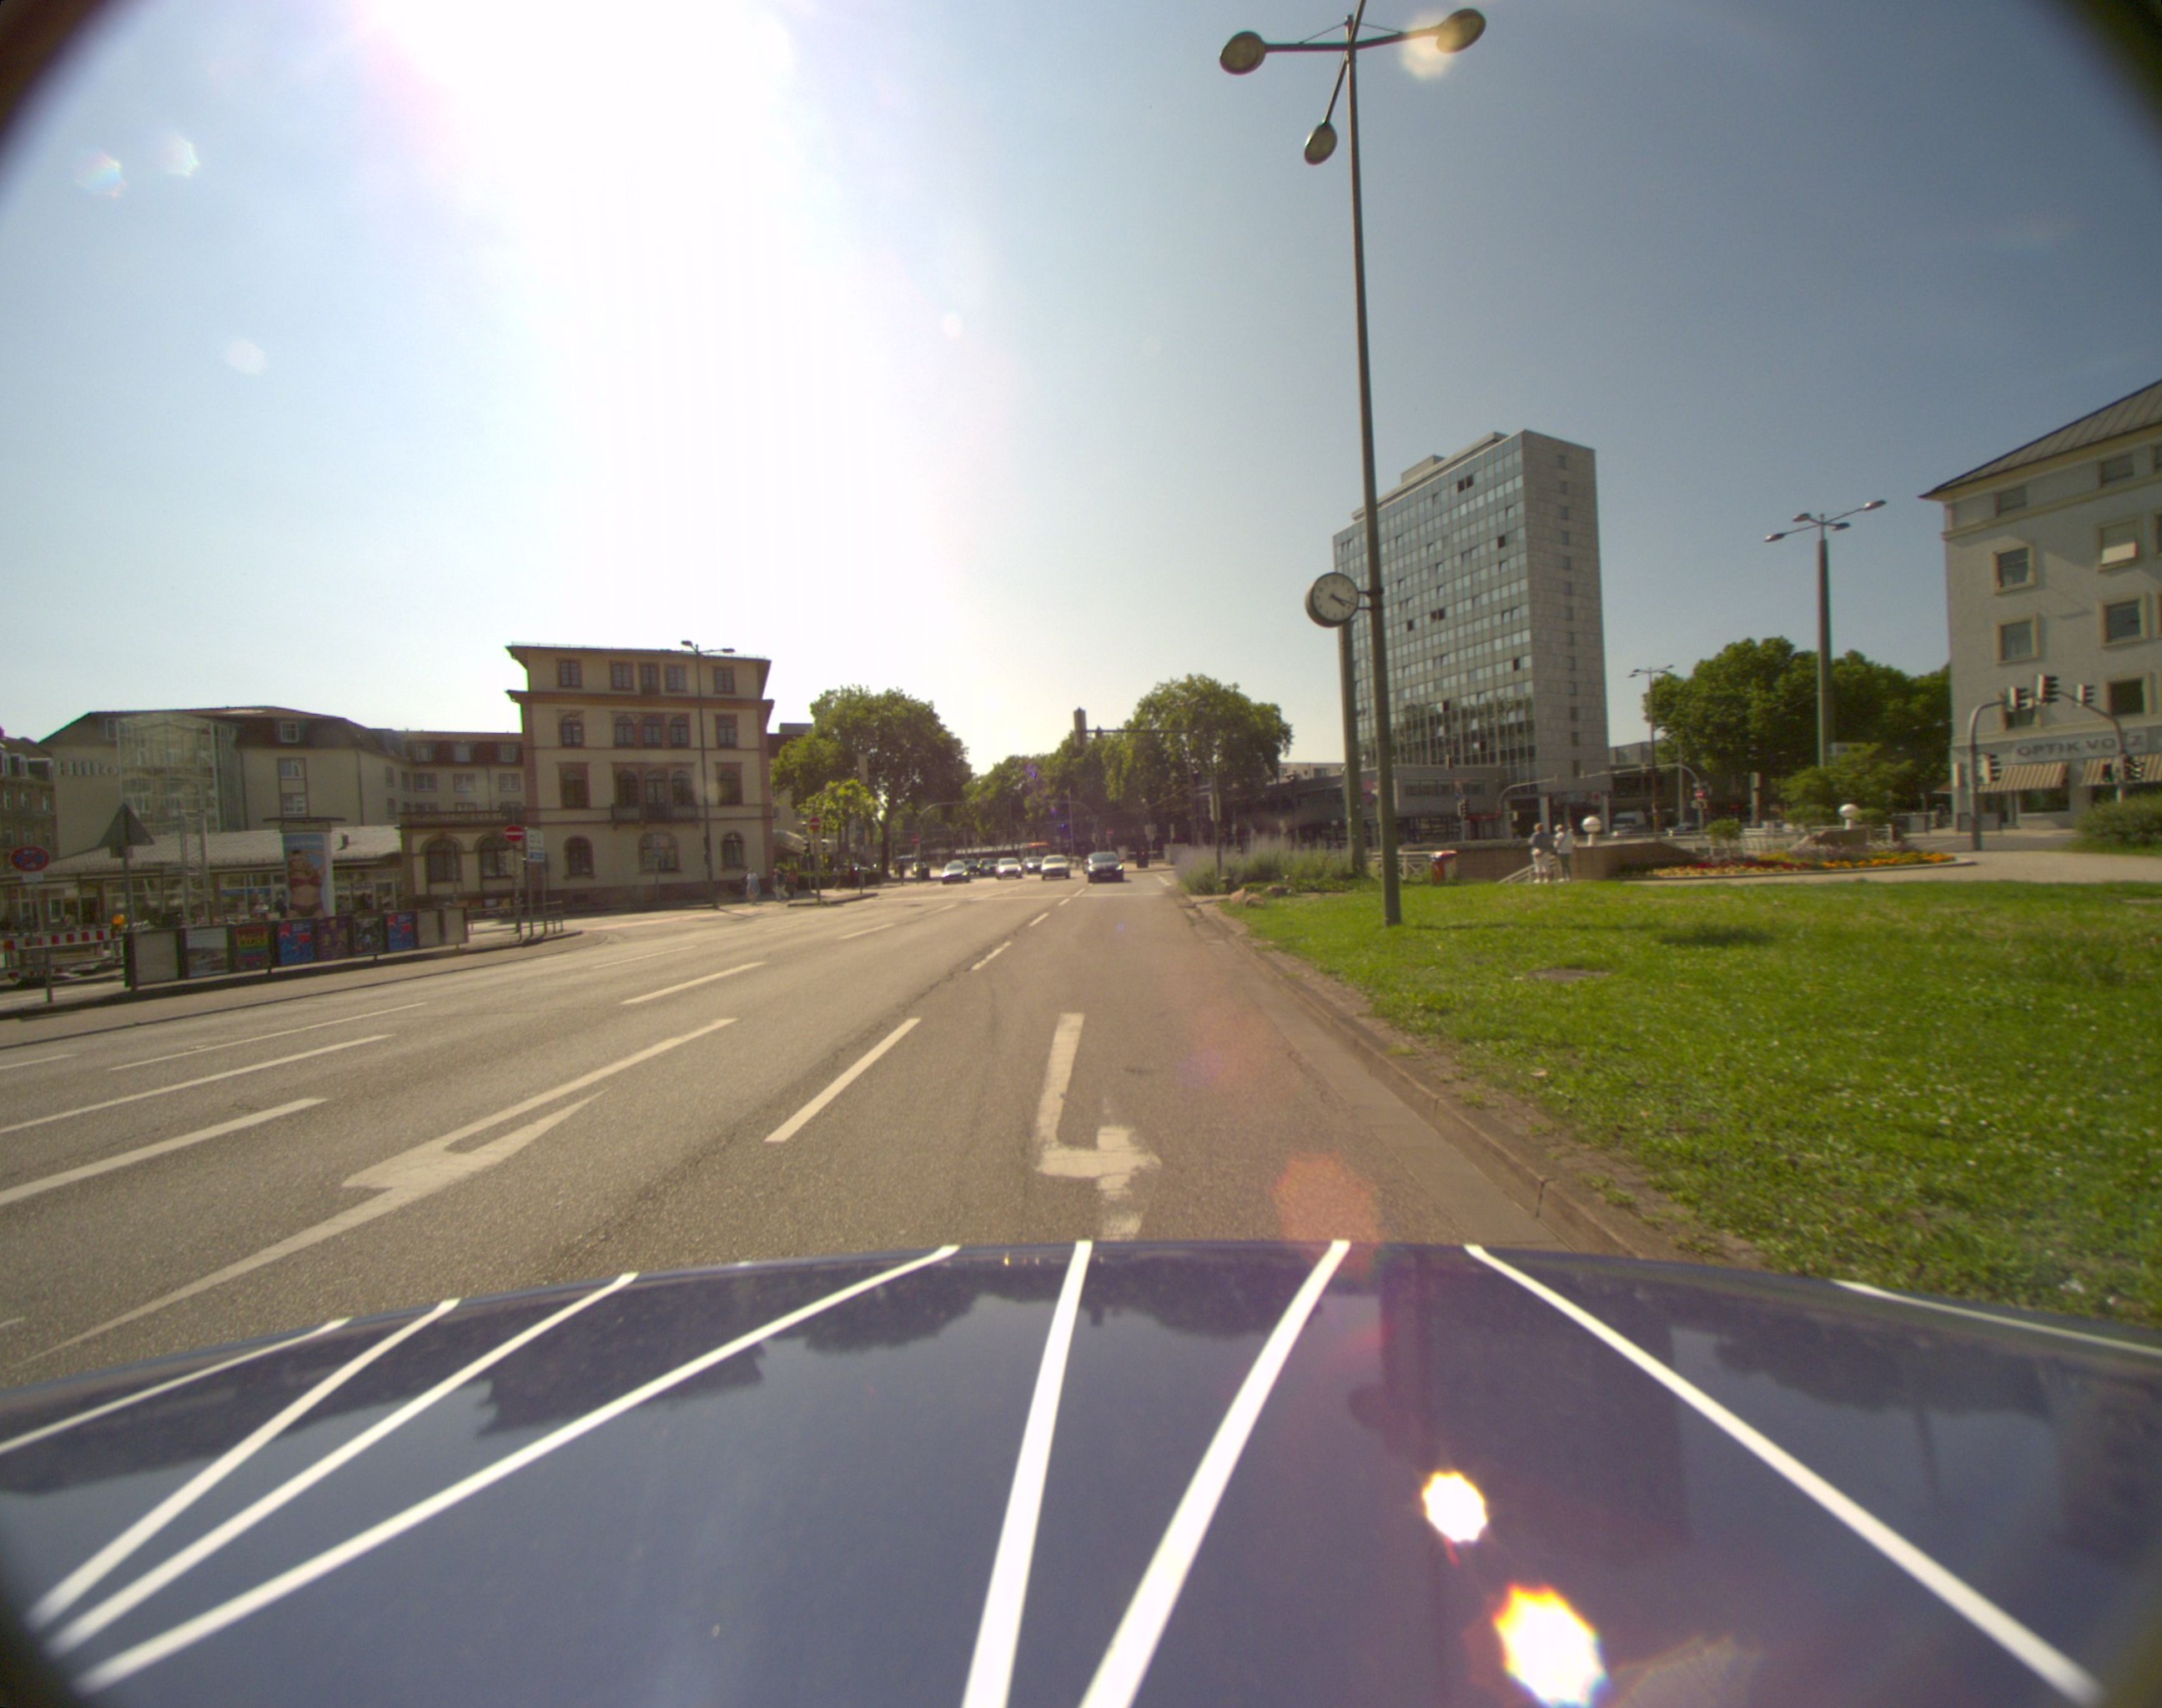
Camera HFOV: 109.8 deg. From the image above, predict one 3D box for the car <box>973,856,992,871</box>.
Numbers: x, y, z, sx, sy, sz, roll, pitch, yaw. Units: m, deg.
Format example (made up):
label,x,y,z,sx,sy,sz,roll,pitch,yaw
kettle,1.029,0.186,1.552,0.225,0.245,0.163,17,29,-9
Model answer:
label,x,y,z,sx,sy,sz,roll,pitch,yaw
car,-9.896,0.959,76.707,1.792,1.443,3.971,-2,0,-7

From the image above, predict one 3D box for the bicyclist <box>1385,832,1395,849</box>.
label,x,y,z,sx,sy,sz,roll,pitch,yaw
bicyclist,31.146,-1.326,76.527,0.683,1.677,0.584,-3,1,5

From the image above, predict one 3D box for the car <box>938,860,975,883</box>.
label,x,y,z,sx,sy,sz,roll,pitch,yaw
car,-8.721,1.194,52.858,1.794,1.443,3.967,-2,0,-20

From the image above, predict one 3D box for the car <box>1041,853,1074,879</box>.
label,x,y,z,sx,sy,sz,roll,pitch,yaw
car,-1.479,0.726,46.576,1.720,1.491,4.489,-2,-1,-4

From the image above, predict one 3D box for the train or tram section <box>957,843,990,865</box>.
label,x,y,z,sx,sy,sz,roll,pitch,yaw
train or tram section,-18.011,0.029,127.106,2.738,3.248,8.720,-4,1,-26

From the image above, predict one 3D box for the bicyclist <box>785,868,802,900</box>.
label,x,y,z,sx,sy,sz,roll,pitch,yaw
bicyclist,-15.160,1.572,40.098,0.593,1.597,0.683,-3,1,-9

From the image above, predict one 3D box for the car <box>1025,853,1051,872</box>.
label,x,y,z,sx,sy,sz,roll,pitch,yaw
car,-3.633,0.675,63.496,1.792,1.514,3.971,-2,0,-8

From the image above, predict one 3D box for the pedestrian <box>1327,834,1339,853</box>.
label,x,y,z,sx,sy,sz,roll,pitch,yaw
pedestrian,25.207,-1.018,76.094,0.824,1.825,0.733,-3,1,-26

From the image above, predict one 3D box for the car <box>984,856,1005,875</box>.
label,x,y,z,sx,sy,sz,roll,pitch,yaw
car,-7.650,0.983,67.136,1.792,1.521,3.971,-2,0,-6

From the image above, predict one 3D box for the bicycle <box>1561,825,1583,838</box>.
label,x,y,z,sx,sy,sz,roll,pitch,yaw
bicycle,50.919,-2.350,78.753,1.939,1.292,0.716,-3,2,-8

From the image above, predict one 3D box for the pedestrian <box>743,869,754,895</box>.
label,x,y,z,sx,sy,sz,roll,pitch,yaw
pedestrian,-21.715,1.798,49.623,0.536,1.639,0.673,-4,1,-22

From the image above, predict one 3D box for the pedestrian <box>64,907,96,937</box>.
label,x,y,z,sx,sy,sz,roll,pitch,yaw
pedestrian,-54.788,3.717,41.602,0.723,1.594,0.719,-3,1,7

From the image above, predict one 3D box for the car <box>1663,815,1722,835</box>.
label,x,y,z,sx,sy,sz,roll,pitch,yaw
car,53.947,-2.562,67.034,4.079,1.525,1.881,-3,1,-12

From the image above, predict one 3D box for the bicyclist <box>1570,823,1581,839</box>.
label,x,y,z,sx,sy,sz,roll,pitch,yaw
bicyclist,49.972,-2.341,76.811,0.684,1.518,0.582,-4,3,-14

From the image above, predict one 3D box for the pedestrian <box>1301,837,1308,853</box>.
label,x,y,z,sx,sy,sz,roll,pitch,yaw
pedestrian,23.318,-0.936,79.220,0.565,1.629,0.600,-2,1,12

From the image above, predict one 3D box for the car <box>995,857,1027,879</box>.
label,x,y,z,sx,sy,sz,roll,pitch,yaw
car,-5.018,0.954,54.067,1.792,1.443,3.970,-2,0,-11

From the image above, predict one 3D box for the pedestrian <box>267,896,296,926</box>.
label,x,y,z,sx,sy,sz,roll,pitch,yaw
pedestrian,-45.176,3.207,42.935,0.724,1.594,0.719,-3,1,3

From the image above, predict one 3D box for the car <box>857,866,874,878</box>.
label,x,y,z,sx,sy,sz,roll,pitch,yaw
car,-25.528,2.074,89.868,1.592,1.314,3.573,-4,0,-20

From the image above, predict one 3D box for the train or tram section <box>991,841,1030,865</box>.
label,x,y,z,sx,sy,sz,roll,pitch,yaw
train or tram section,-10.419,-0.078,111.390,2.738,3.248,8.720,-4,1,-26

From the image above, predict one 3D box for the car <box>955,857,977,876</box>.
label,x,y,z,sx,sy,sz,roll,pitch,yaw
car,-9.694,1.007,63.899,1.792,1.521,3.970,-2,0,-9

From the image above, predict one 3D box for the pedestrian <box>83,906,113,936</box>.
label,x,y,z,sx,sy,sz,roll,pitch,yaw
pedestrian,-55.413,3.761,42.836,0.723,1.594,0.719,-3,1,6

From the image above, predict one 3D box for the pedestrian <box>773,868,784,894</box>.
label,x,y,z,sx,sy,sz,roll,pitch,yaw
pedestrian,-19.568,1.729,49.132,0.536,1.639,0.579,-4,1,-22

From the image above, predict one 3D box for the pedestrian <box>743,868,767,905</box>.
label,x,y,z,sx,sy,sz,roll,pitch,yaw
pedestrian,-15.496,1.528,36.125,0.754,1.650,0.829,-3,1,-6

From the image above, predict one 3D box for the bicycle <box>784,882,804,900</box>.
label,x,y,z,sx,sy,sz,roll,pitch,yaw
bicycle,-15.120,1.932,40.005,0.593,0.850,1.743,-3,0,-9

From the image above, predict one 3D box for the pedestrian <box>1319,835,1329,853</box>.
label,x,y,z,sx,sy,sz,roll,pitch,yaw
pedestrian,25.299,-1.041,79.110,0.822,1.796,0.672,-2,1,13

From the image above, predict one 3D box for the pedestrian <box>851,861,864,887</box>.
label,x,y,z,sx,sy,sz,roll,pitch,yaw
pedestrian,-15.647,1.377,53.236,0.727,1.795,0.651,-4,1,-19

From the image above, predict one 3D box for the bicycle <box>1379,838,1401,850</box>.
label,x,y,z,sx,sy,sz,roll,pitch,yaw
bicycle,31.101,-1.034,76.542,1.967,1.096,0.577,-3,1,5

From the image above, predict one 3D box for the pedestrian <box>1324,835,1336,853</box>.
label,x,y,z,sx,sy,sz,roll,pitch,yaw
pedestrian,25.250,-1.035,77.113,0.824,1.825,0.670,-3,1,-24

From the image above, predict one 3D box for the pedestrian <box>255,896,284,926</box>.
label,x,y,z,sx,sy,sz,roll,pitch,yaw
pedestrian,-45.211,3.187,42.330,0.724,1.594,0.719,-3,1,3

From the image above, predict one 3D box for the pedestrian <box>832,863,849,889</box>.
label,x,y,z,sx,sy,sz,roll,pitch,yaw
pedestrian,-16.131,1.456,51.000,0.845,1.685,0.743,-4,1,-27

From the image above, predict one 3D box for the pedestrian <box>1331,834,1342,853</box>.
label,x,y,z,sx,sy,sz,roll,pitch,yaw
pedestrian,25.291,-0.996,75.194,0.824,1.825,0.670,-3,1,-26

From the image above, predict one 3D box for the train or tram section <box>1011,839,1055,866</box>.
label,x,y,z,sx,sy,sz,roll,pitch,yaw
train or tram section,-6.619,-0.132,103.579,2.738,3.248,8.720,-4,1,-26

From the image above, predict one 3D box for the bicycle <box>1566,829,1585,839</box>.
label,x,y,z,sx,sy,sz,roll,pitch,yaw
bicycle,50.004,-2.026,76.828,1.811,0.878,0.592,-4,2,-14

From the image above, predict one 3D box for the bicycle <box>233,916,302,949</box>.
label,x,y,z,sx,sy,sz,roll,pitch,yaw
bicycle,-30.729,2.944,28.723,1.820,1.093,0.504,-2,1,-8

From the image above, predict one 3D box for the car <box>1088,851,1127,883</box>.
label,x,y,z,sx,sy,sz,roll,pitch,yaw
car,1.302,0.600,37.543,1.791,1.443,4.281,-2,0,2

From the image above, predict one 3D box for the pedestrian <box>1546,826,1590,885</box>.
label,x,y,z,sx,sy,sz,roll,pitch,yaw
pedestrian,12.947,0.040,20.210,0.851,1.501,0.474,-3,1,-13

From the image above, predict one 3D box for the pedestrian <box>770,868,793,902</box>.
label,x,y,z,sx,sy,sz,roll,pitch,yaw
pedestrian,-14.517,1.494,36.847,0.773,1.563,0.829,-3,1,-5

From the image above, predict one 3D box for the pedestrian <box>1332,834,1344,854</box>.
label,x,y,z,sx,sy,sz,roll,pitch,yaw
pedestrian,25.067,-0.979,74.238,0.824,1.825,0.670,-3,1,-26

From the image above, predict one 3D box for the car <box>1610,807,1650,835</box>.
label,x,y,z,sx,sy,sz,roll,pitch,yaw
car,62.385,-3.793,86.358,4.641,2.899,1.744,-4,1,-28

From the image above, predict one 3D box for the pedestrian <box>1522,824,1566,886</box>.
label,x,y,z,sx,sy,sz,roll,pitch,yaw
pedestrian,12.252,0.028,20.114,0.692,1.584,0.599,-4,1,-13

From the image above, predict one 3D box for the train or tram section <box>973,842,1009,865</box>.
label,x,y,z,sx,sy,sz,roll,pitch,yaw
train or tram section,-14.228,-0.024,119.242,2.738,3.248,8.720,-4,1,-26

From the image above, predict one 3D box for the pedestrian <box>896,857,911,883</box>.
label,x,y,z,sx,sy,sz,roll,pitch,yaw
pedestrian,-13.061,1.181,55.958,0.590,1.835,0.730,-3,1,42
